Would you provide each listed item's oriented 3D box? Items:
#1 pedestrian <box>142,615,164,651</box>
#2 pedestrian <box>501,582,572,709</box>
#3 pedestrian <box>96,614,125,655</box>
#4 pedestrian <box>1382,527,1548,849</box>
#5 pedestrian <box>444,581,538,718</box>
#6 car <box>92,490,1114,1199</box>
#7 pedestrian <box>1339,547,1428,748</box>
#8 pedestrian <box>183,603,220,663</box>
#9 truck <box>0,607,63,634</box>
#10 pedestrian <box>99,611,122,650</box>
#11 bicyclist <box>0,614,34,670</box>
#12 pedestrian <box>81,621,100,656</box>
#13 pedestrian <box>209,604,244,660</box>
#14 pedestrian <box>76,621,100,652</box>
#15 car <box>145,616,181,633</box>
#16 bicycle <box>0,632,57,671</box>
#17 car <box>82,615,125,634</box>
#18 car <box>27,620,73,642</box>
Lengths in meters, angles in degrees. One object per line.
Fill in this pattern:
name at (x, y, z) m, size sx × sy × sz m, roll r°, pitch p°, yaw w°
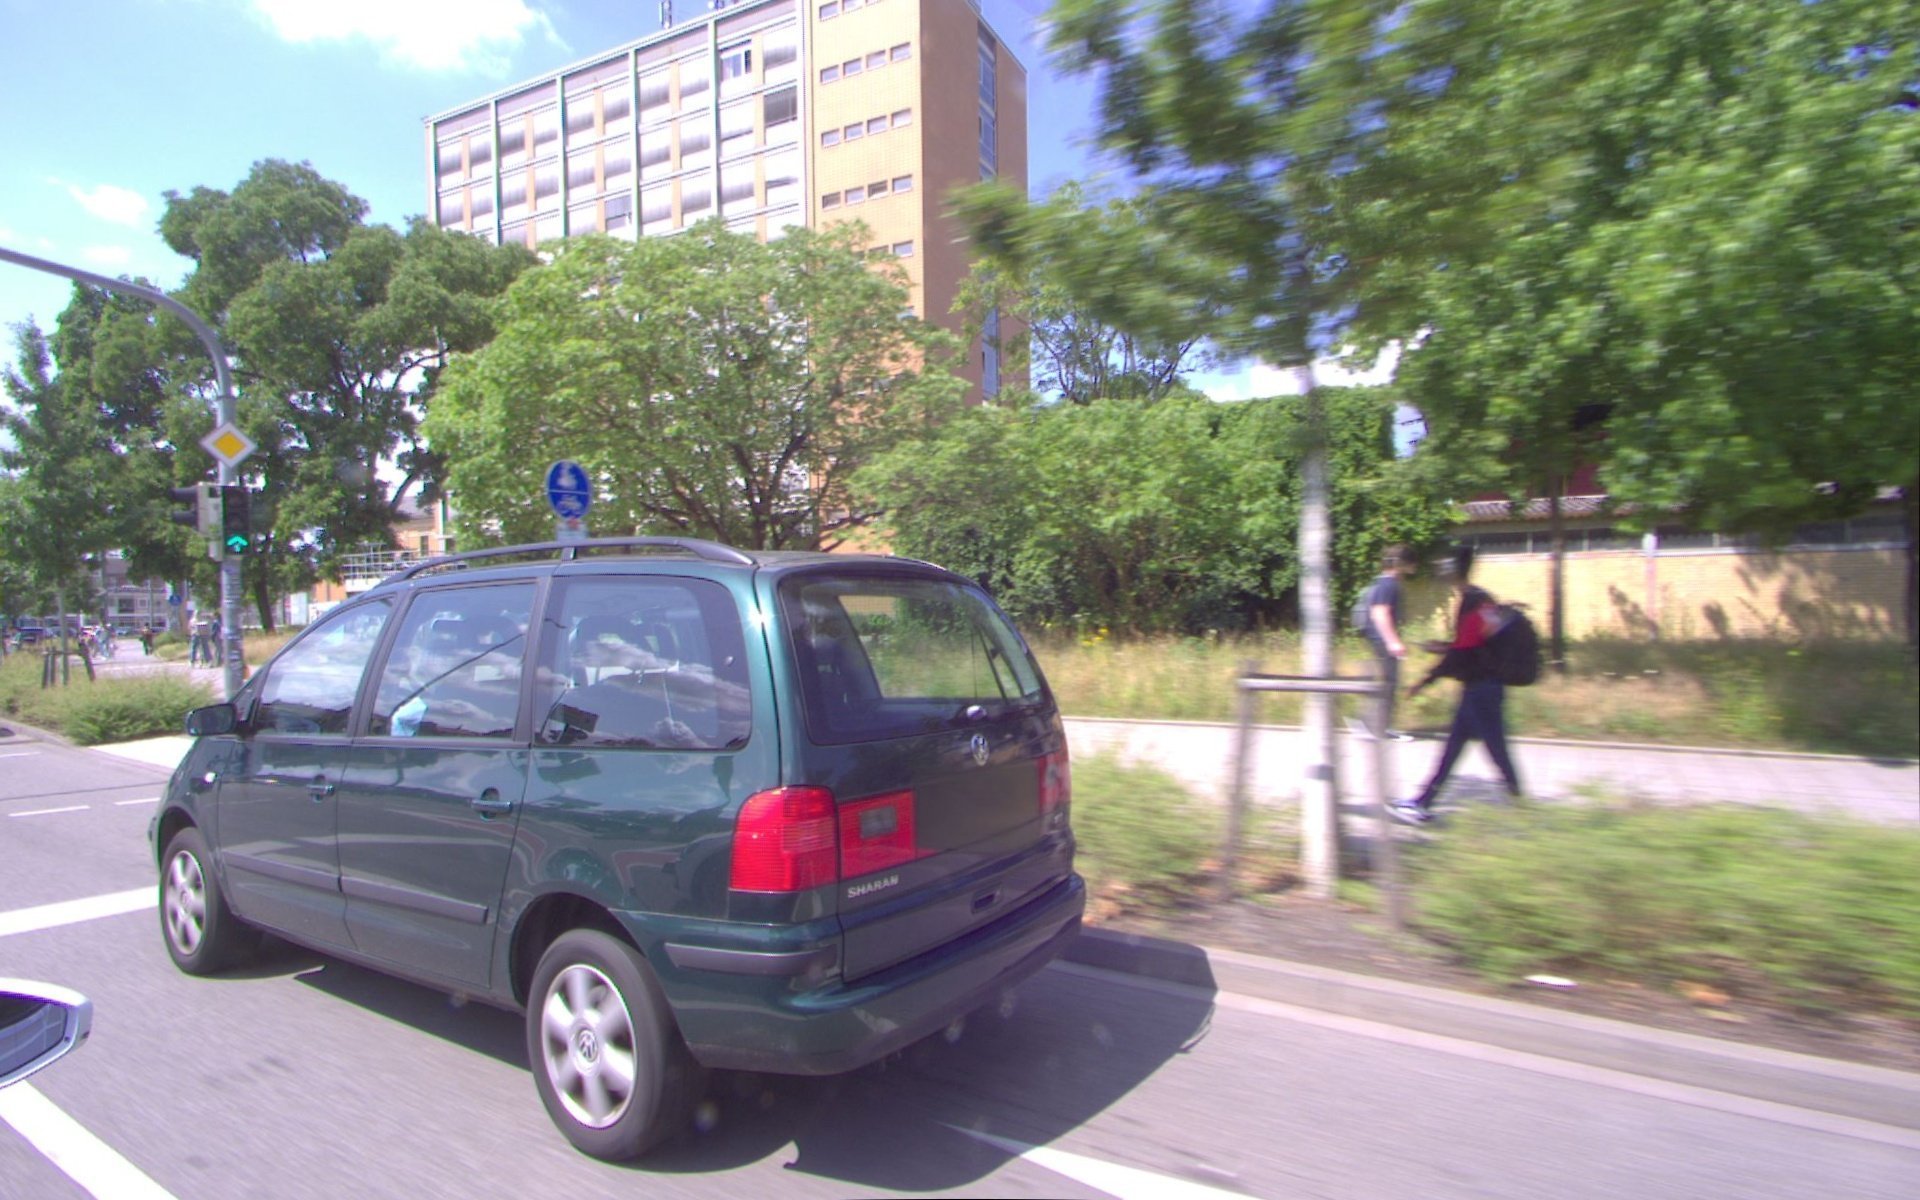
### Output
pedestrian at (-41.025, 1.683, 50.886) m, size 0.666 × 1.844 × 0.752 m, roll -2°, pitch -2°, yaw 41°
pedestrian at (-6.085, 0.632, 14.392) m, size 0.600 × 1.770 × 0.666 m, roll 0°, pitch 2°, yaw 26°
pedestrian at (-39.711, 1.604, 46.814) m, size 0.769 × 1.846 × 0.753 m, roll -1°, pitch 3°, yaw 34°
pedestrian at (3.033, 0.487, 6.003) m, size 0.835 × 1.773 × 0.665 m, roll 0°, pitch 2°, yaw 31°
pedestrian at (-6.421, 0.652, 13.734) m, size 0.867 × 1.802 × 0.749 m, roll 0°, pitch 2°, yaw 26°
car at (-1.735, 0.685, 4.234) m, size 4.386 × 1.745 × 1.791 m, roll -1°, pitch -2°, yaw 33°
pedestrian at (3.930, 0.415, 9.272) m, size 0.657 × 1.773 × 0.747 m, roll 0°, pitch 2°, yaw 31°
pedestrian at (-23.906, 1.024, 31.546) m, size 0.602 × 1.827 × 0.746 m, roll 0°, pitch 2°, yaw 38°
truck at (-105.018, 2.282, 112.379) m, size 2.843 × 2.889 × 8.779 m, roll -1°, pitch 0°, yaw -15°
pedestrian at (-41.478, 1.490, 48.891) m, size 0.630 × 1.844 × 0.752 m, roll -2°, pitch -2°, yaw 40°
bicyclist at (-28.311, 1.246, 29.904) m, size 0.573 × 1.623 × 0.824 m, roll -2°, pitch 2°, yaw 38°
pedestrian at (-42.028, 1.856, 48.404) m, size 0.719 × 1.646 × 0.585 m, roll -2°, pitch -2°, yaw 40°
pedestrian at (-23.801, 1.032, 32.502) m, size 0.602 × 1.776 × 0.746 m, roll 0°, pitch 2°, yaw 38°
pedestrian at (-45.661, 1.906, 52.443) m, size 0.751 × 1.610 × 0.754 m, roll -1°, pitch -2°, yaw 34°
car at (-80.794, 2.488, 101.529) m, size 1.856 × 1.663 × 3.944 m, roll 0°, pitch 0°, yaw -23°
bicycle at (-28.284, 1.541, 29.929) m, size 0.585 × 1.064 × 1.801 m, roll -2°, pitch 1°, yaw 38°
car at (-78.813, 2.223, 92.224) m, size 1.856 × 1.663 × 3.944 m, roll 0°, pitch 0°, yaw -23°
car at (-70.661, 2.399, 77.784) m, size 1.861 × 1.663 × 3.935 m, roll 0°, pitch 0°, yaw -31°
